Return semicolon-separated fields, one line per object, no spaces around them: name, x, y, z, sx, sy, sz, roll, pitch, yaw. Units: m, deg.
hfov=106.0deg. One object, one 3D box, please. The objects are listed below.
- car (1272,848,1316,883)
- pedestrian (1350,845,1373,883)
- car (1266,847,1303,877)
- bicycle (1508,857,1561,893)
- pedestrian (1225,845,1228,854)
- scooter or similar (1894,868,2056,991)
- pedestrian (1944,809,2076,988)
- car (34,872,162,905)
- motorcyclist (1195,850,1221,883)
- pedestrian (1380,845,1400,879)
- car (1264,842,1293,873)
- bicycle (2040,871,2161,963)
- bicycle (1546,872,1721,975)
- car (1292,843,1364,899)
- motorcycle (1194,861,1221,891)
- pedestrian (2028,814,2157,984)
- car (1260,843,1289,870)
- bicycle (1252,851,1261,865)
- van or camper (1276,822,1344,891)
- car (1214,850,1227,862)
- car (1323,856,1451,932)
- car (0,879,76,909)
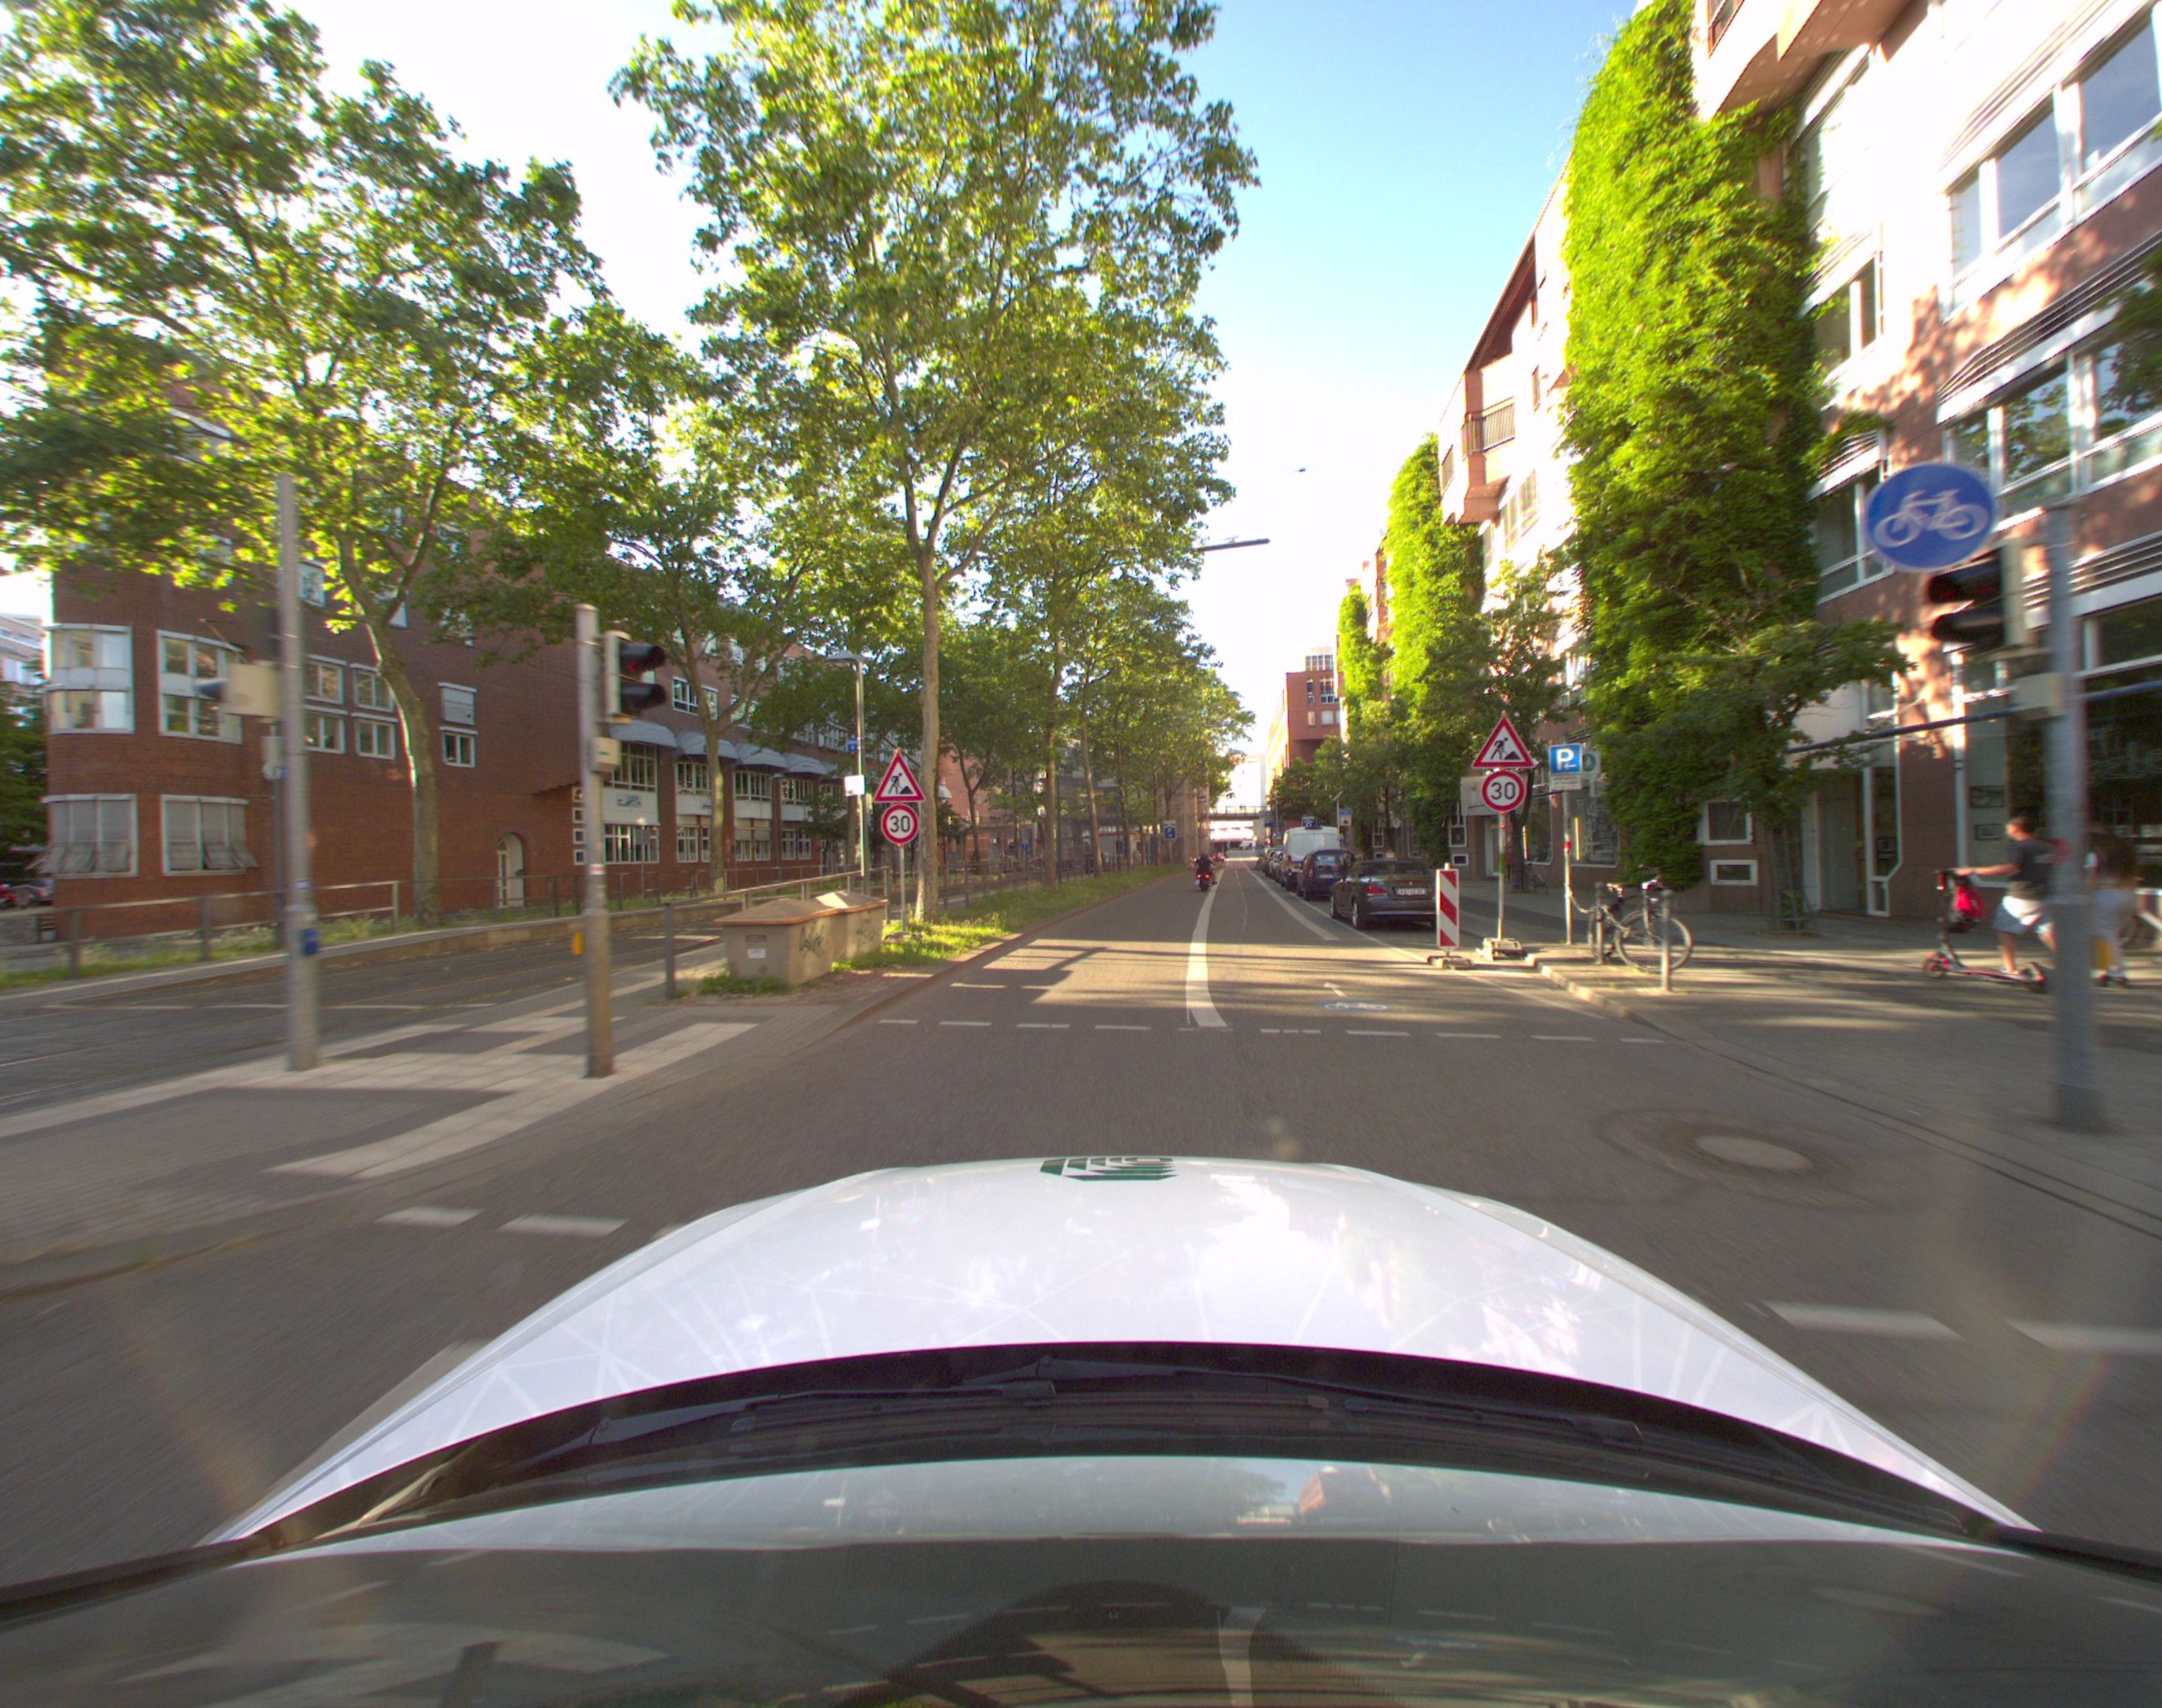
car;10.349;0.521;39.841;1.611;1.603;3.783;-2;0;8
pedestrian;12.209;0.430;35.437;0.759;1.644;0.547;-2;0;2
car;11.557;0.431;46.490;1.611;1.610;3.783;-2;0;8
bicycle;13.826;0.618;24.890;0.615;1.020;1.915;-1;0;3
pedestrian;32.034;-0.959;179.470;0.538;1.881;0.530;-2;0;8
scooter or similar;9.298;0.746;8.528;0.392;1.158;1.251;-2;0;6
pedestrian;9.631;0.432;8.452;0.787;1.763;0.606;-2;0;-16
car;-54.366;1.866;45.173;1.981;1.555;4.012;-2;0;11
motorcyclist;5.047;0.483;32.488;1.006;1.263;0.775;1;1;7
pedestrian;13.161;0.341;34.676;0.758;1.445;0.784;-1;0;24
car;12.310;0.194;50.861;1.609;1.865;3.787;-2;0;12
bicycle;12.051;0.693;9.075;0.734;0.939;1.754;-2;0;4
bicycle;6.552;0.779;9.782;0.737;1.053;1.747;-2;0;-9
car;7.905;0.494;26.393;1.610;1.619;4.497;-2;0;9
motorcycle;5.039;0.880;32.606;1.012;1.097;2.012;-1;1;8
pedestrian;10.450;0.446;8.431;0.458;1.672;0.678;-2;0;-6
car;14.851;0.169;62.734;1.824;2.013;4.399;-2;0;9
bicycle;16.014;0.341;74.326;0.659;1.234;2.235;-2;0;11
van or camper;9.252;0.063;33.359;2.036;2.540;5.789;-2;0;10
car;22.130;0.307;129.170;1.842;1.717;4.007;-2;0;6
car;6.212;0.746;17.015;1.611;1.302;4.322;-2;0;8
car;-54.208;2.061;41.069;4.016;1.400;1.979;-2;0;-34
